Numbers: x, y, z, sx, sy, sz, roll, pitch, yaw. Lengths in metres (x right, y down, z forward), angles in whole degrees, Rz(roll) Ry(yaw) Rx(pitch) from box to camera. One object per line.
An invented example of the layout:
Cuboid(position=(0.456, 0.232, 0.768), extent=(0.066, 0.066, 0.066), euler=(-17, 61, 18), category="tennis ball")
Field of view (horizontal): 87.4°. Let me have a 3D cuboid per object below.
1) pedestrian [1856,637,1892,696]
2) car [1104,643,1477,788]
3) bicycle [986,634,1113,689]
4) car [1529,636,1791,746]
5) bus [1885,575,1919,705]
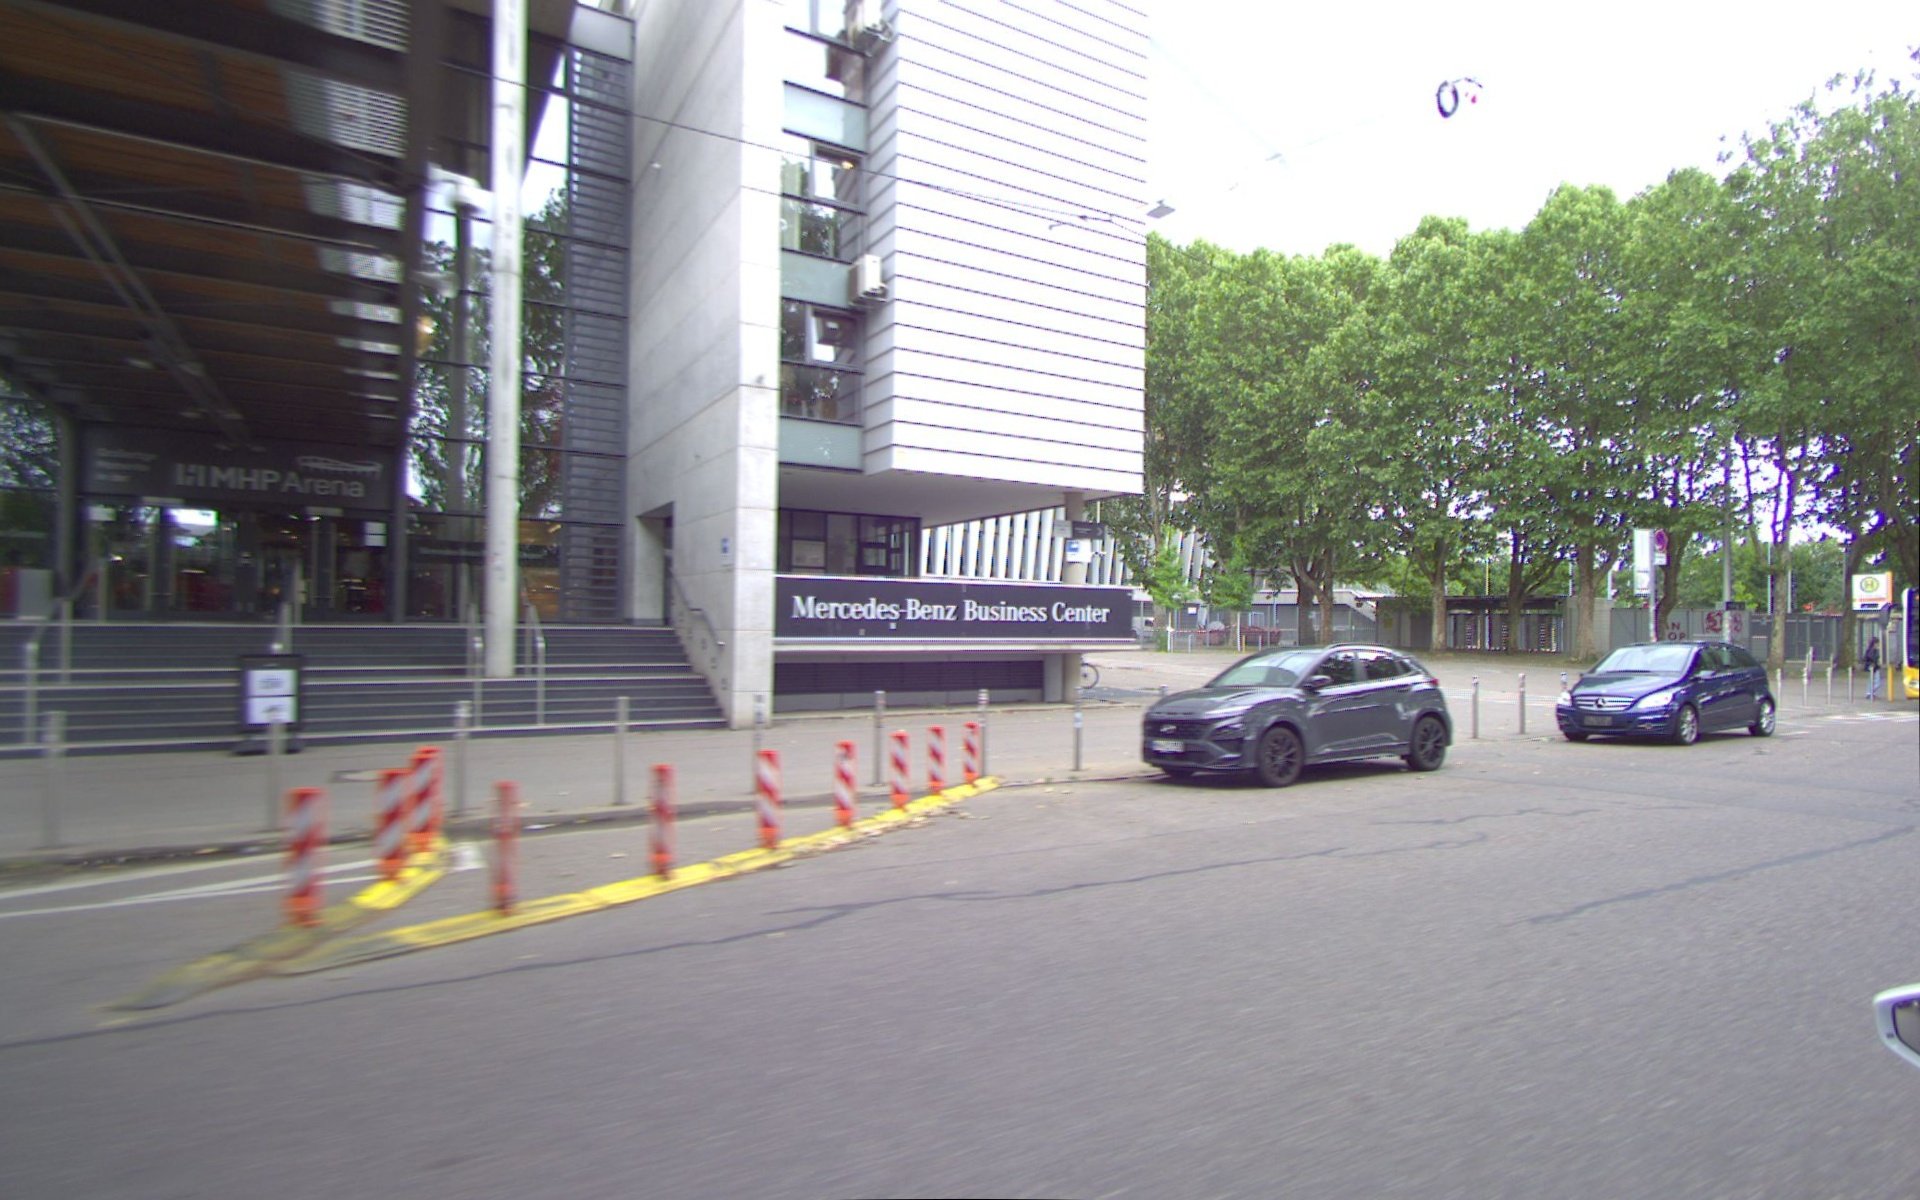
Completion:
Cuboid(position=(25.524, 1.846, 28.062), extent=(0.658, 1.625, 0.609), euler=(0, -1, 35), category="pedestrian")
Cuboid(position=(4.081, 1.289, 12.236), extent=(4.396, 1.472, 1.850), euler=(1, -4, -30), category="car")
Cuboid(position=(2.201, 1.524, 24.975), extent=(3.064, 1.282, 0.871), euler=(1, -1, 0), category="bicycle")
Cuboid(position=(11.599, 1.436, 16.623), extent=(4.064, 1.605, 1.985), euler=(1, -4, -30), category="car")
Cuboid(position=(29.651, 1.069, 26.911), extent=(12.514, 3.201, 3.028), euler=(1, -3, -27), category="bus")
